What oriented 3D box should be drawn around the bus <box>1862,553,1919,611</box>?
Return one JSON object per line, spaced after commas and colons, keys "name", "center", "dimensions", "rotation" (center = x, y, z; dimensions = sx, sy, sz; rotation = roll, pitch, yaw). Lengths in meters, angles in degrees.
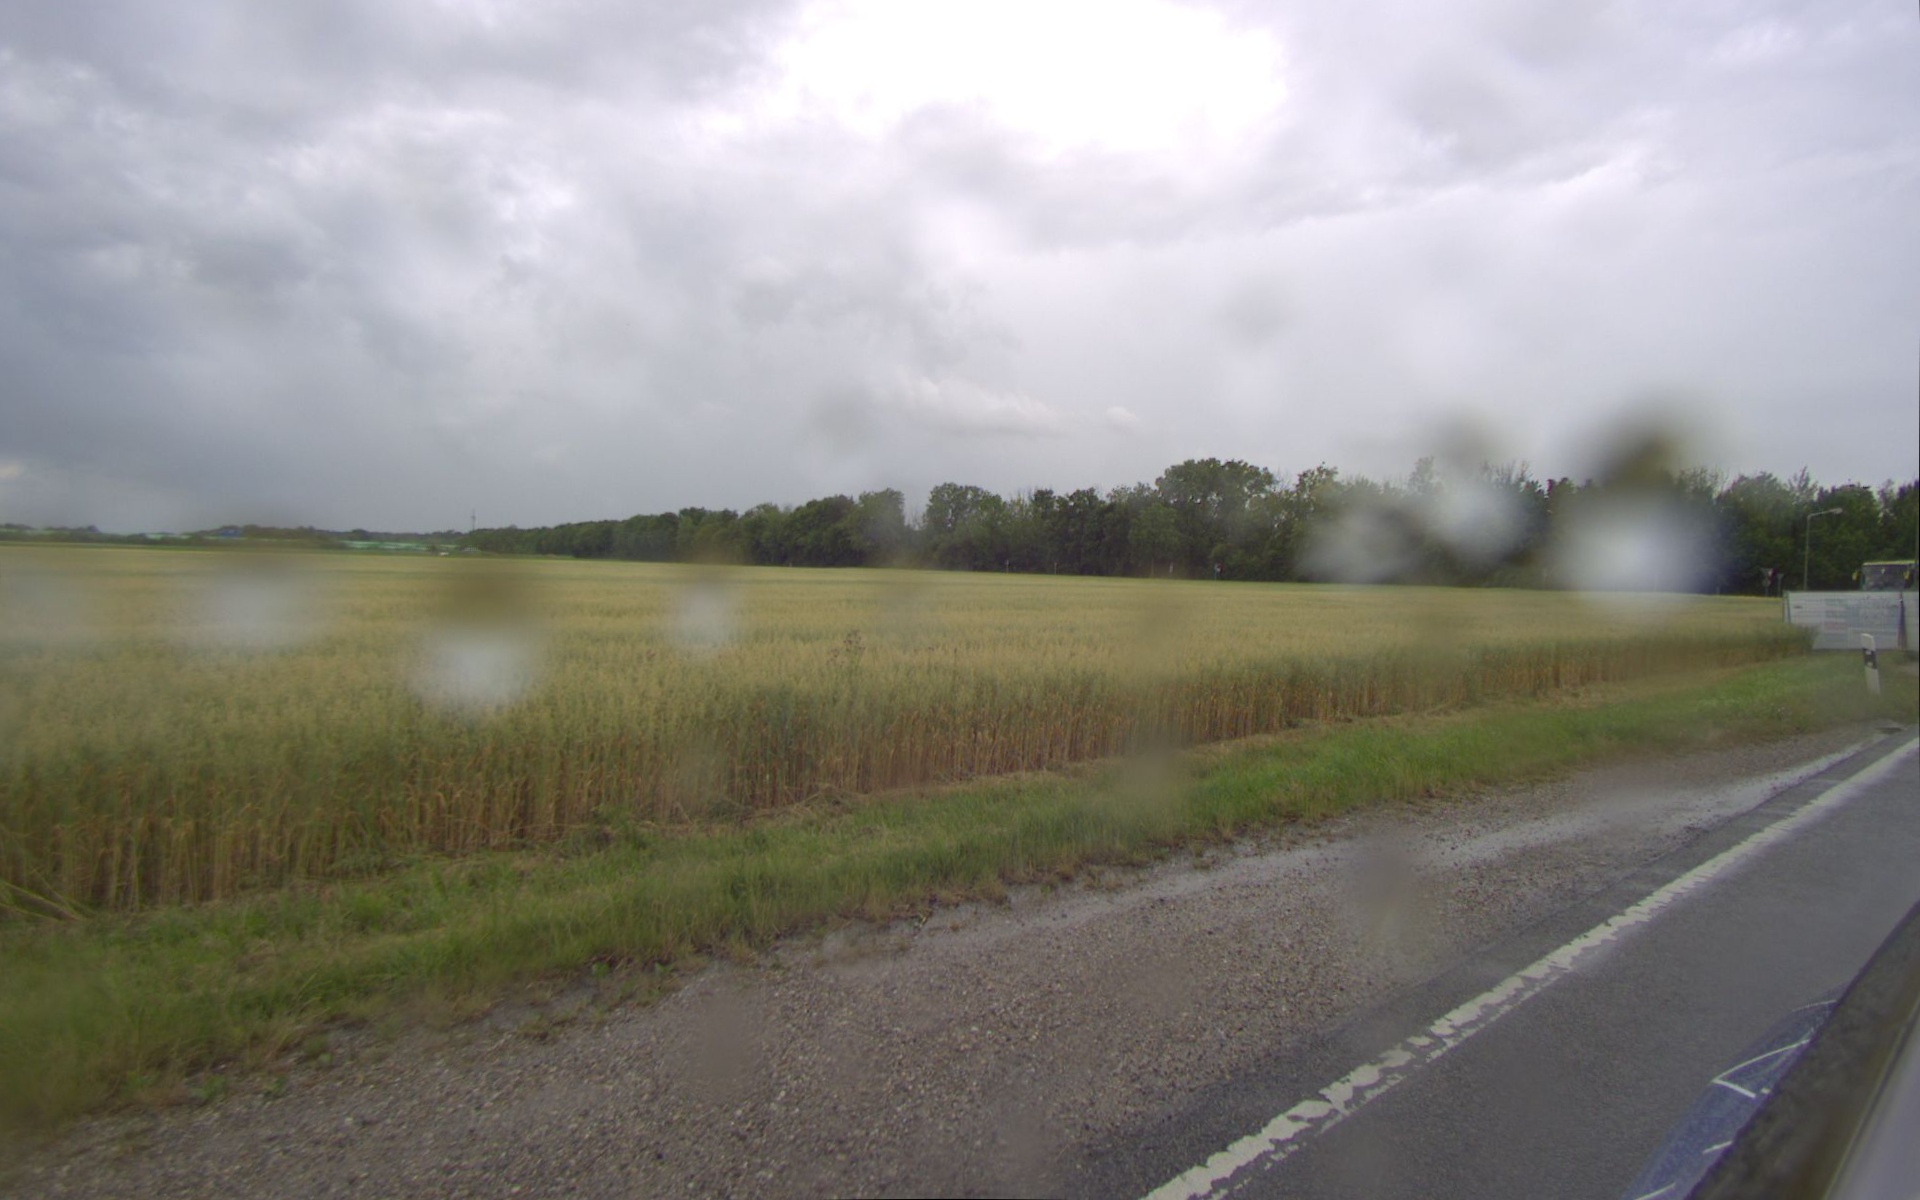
{"name": "bus", "center": [67.799, -1.175, 70.454], "dimensions": [14.006, 3.731, 3.003], "rotation": [0, 2, -30]}
